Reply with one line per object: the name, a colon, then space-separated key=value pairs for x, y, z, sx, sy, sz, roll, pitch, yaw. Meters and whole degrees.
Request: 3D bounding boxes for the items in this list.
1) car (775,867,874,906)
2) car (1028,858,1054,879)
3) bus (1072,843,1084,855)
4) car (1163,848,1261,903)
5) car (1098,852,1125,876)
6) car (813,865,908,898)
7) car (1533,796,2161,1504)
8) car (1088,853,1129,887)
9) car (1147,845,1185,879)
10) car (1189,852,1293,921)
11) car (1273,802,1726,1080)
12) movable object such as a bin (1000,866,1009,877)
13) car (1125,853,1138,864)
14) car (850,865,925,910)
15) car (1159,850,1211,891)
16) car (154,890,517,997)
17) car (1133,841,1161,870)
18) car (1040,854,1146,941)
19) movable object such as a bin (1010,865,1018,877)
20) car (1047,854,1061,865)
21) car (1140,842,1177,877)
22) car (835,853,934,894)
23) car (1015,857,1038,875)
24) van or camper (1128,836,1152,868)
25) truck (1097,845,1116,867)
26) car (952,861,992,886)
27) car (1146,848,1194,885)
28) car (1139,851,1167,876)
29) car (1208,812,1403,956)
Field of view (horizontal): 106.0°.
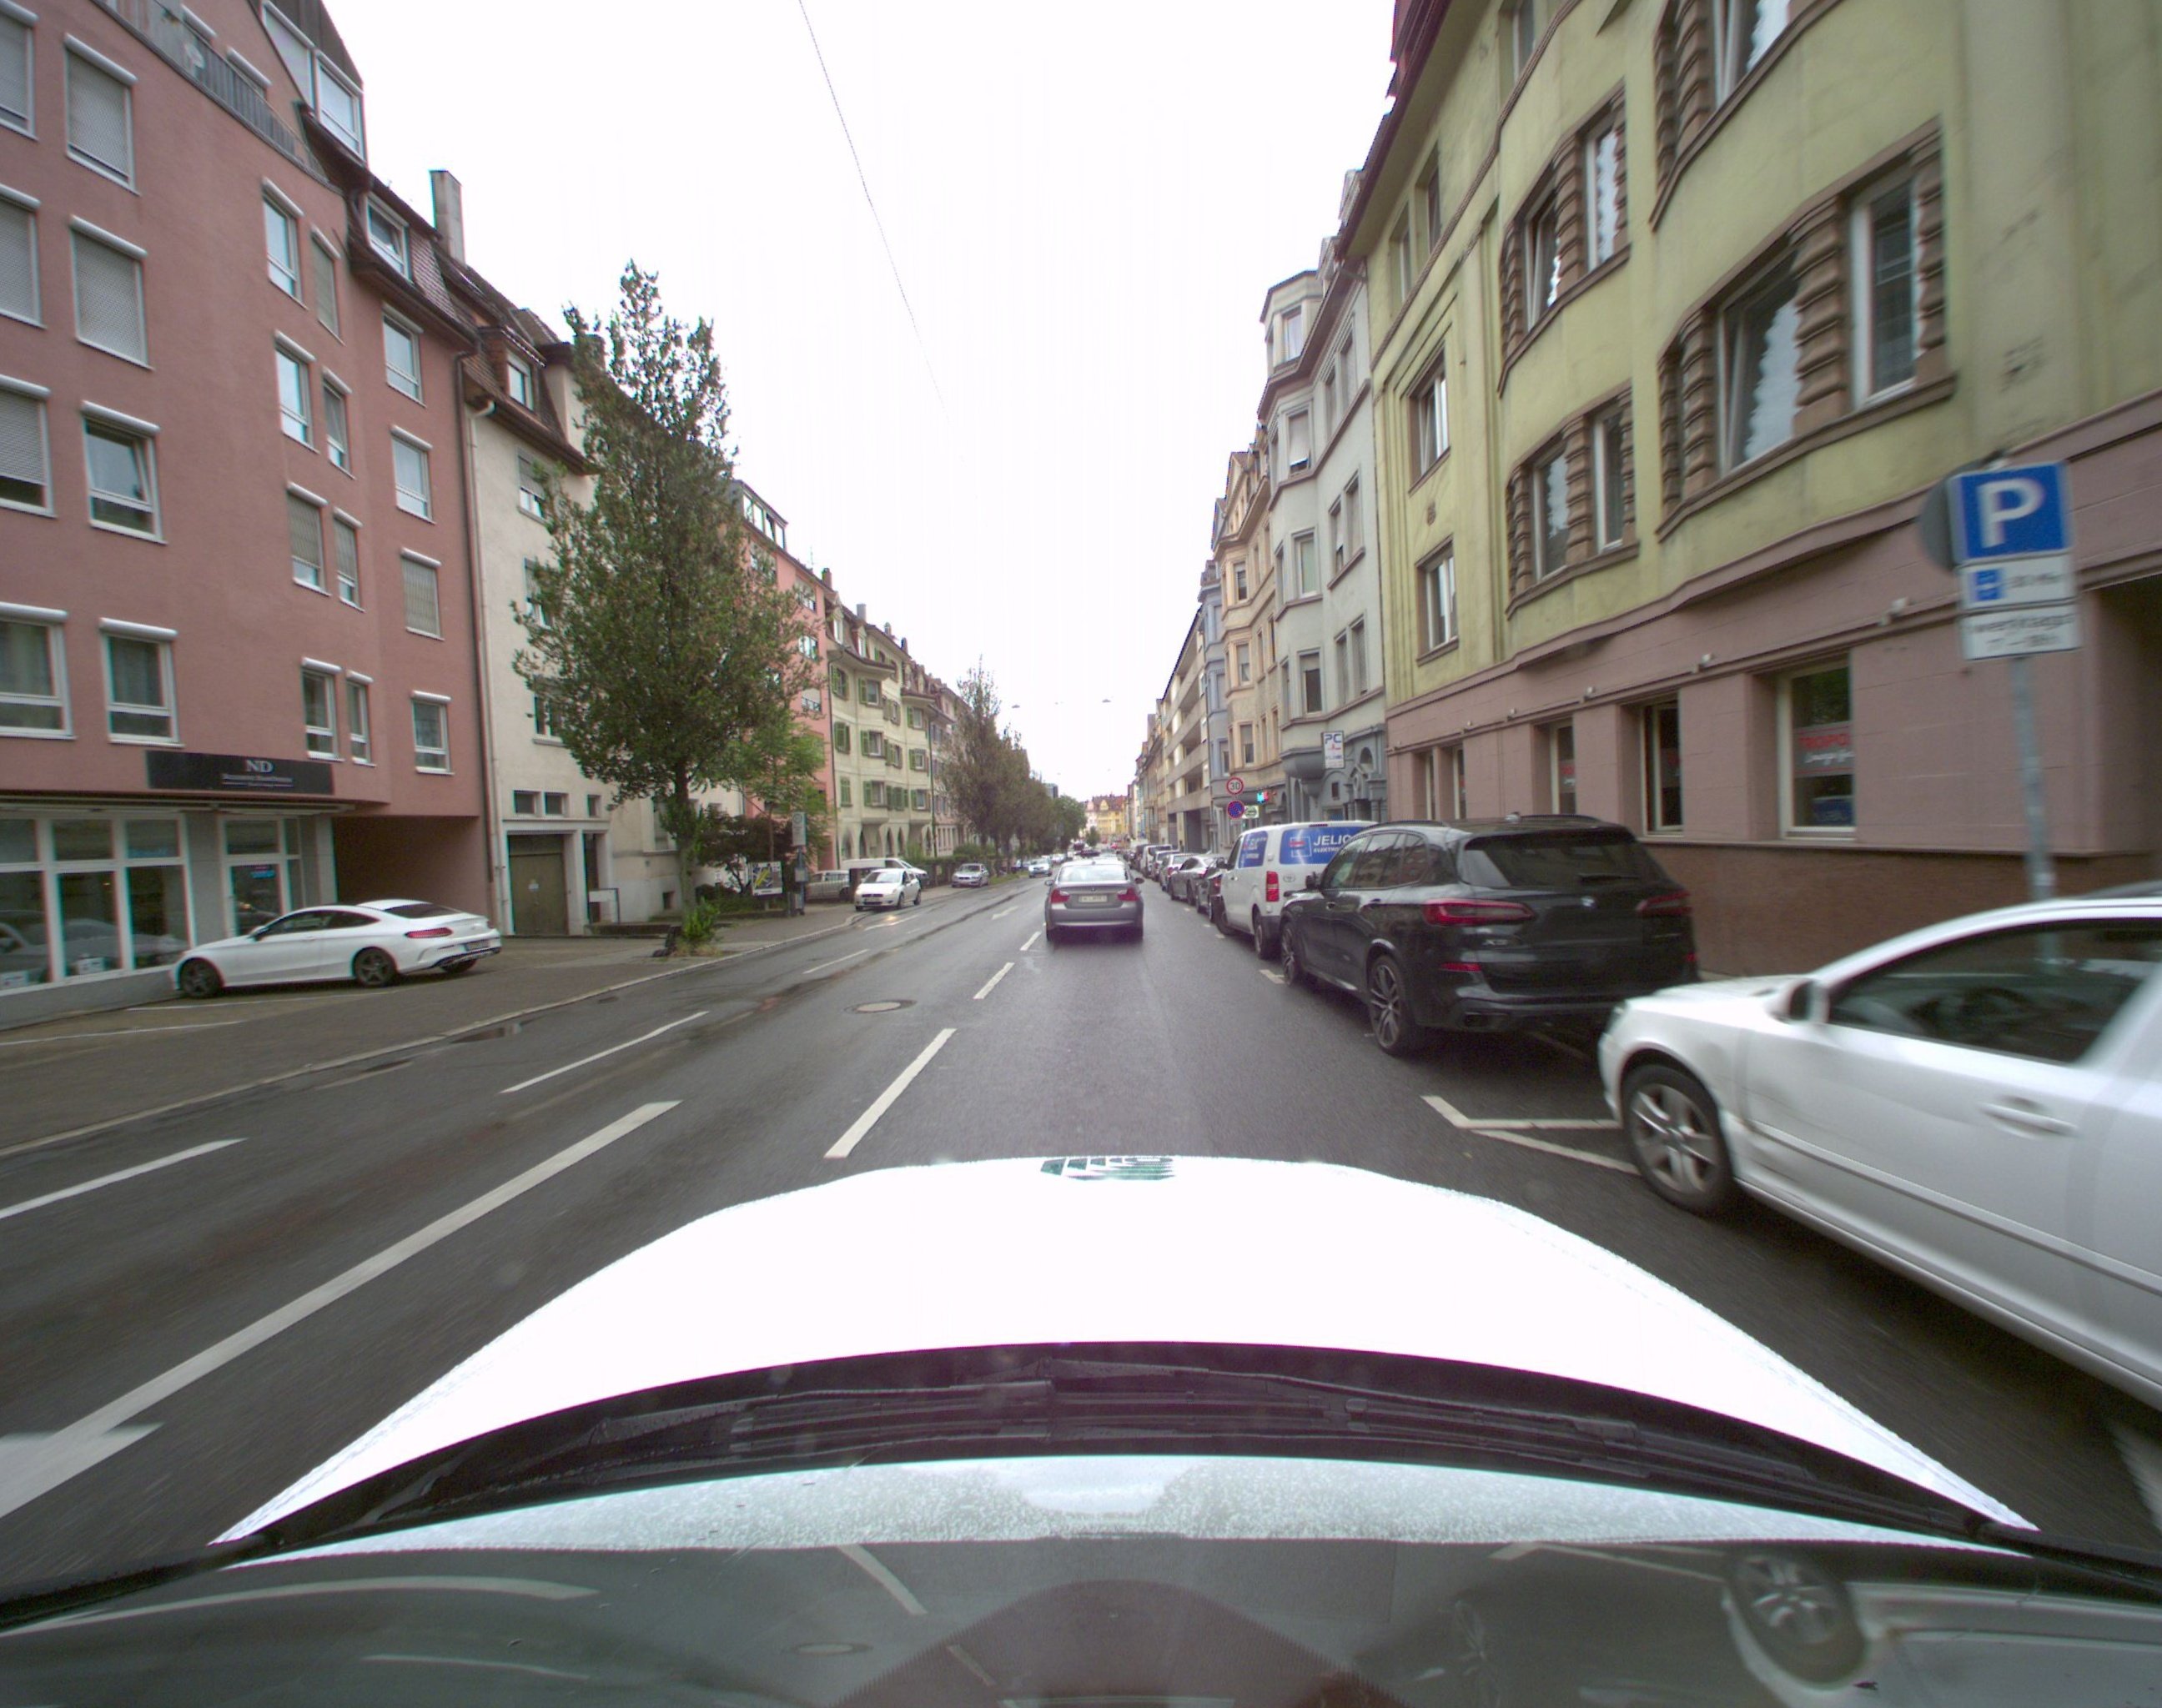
car: x=-11.530 y=1.453 z=36.836 sx=3.876 sy=1.457 sz=1.788 roll=-3 pitch=0 yaw=-6
car: x=-3.166 y=1.115 z=65.441 sx=1.630 sy=1.508 sz=3.756 roll=-5 pitch=0 yaw=2
bus: x=-0.797 y=-1.226 z=207.843 sx=2.658 sy=3.024 sz=7.674 roll=-3 pitch=0 yaw=2
car: x=3.817 y=0.605 z=24.566 sx=1.872 sy=1.467 sz=4.767 roll=-1 pitch=0 yaw=-4
car: x=1.995 y=0.668 z=54.127 sx=1.691 sy=1.483 sz=3.794 roll=-1 pitch=-1 yaw=1
car: x=-11.447 y=1.435 z=42.488 sx=4.418 sy=1.451 sz=1.791 roll=-3 pitch=0 yaw=-1
car: x=3.283 y=0.647 z=2.112 sx=1.792 sy=1.565 sz=4.493 roll=0 pitch=0 yaw=1
car: x=1.243 y=0.676 z=35.662 sx=1.675 sy=1.428 sz=3.744 roll=-1 pitch=0 yaw=3
car: x=4.672 y=0.416 z=45.142 sx=1.719 sy=1.670 sz=4.290 roll=-4 pitch=0 yaw=2
car: x=3.555 y=0.666 z=18.808 sx=1.671 sy=1.375 sz=4.278 roll=-1 pitch=0 yaw=2
car: x=3.175 y=0.550 z=7.454 sx=1.872 sy=1.731 sz=4.679 roll=0 pitch=0 yaw=2
movable object such as a bin: x=-6.229 y=1.415 z=66.278 sx=0.575 sy=0.912 sz=0.637 roll=-3 pitch=0 yaw=-12
car: x=7.110 y=0.607 z=115.102 sx=1.691 sy=1.483 sz=3.976 roll=-1 pitch=-1 yaw=1
car: x=-7.156 y=1.205 z=30.467 sx=1.614 sy=1.445 sz=4.008 roll=-2 pitch=0 yaw=3
car: x=3.965 y=0.600 z=31.579 sx=1.605 sy=1.474 sz=4.017 roll=-1 pitch=0 yaw=2
car: x=-12.577 y=1.472 z=13.940 sx=4.531 sy=1.401 sz=1.768 roll=-3 pitch=0 yaw=1
car: x=5.328 y=0.147 z=66.499 sx=1.974 sy=2.166 sz=4.752 roll=-3 pitch=0 yaw=2
car: x=0.217 y=0.735 z=15.493 sx=1.763 sy=1.428 sz=3.740 roll=-1 pitch=0 yaw=0
movable object such as a bin: x=-5.470 y=1.393 z=66.496 sx=0.575 sy=0.912 sz=0.637 roll=-3 pitch=0 yaw=-12
car: x=-4.031 y=0.795 z=120.685 sx=1.684 sy=1.523 sz=3.739 roll=-4 pitch=0 yaw=3
car: x=4.866 y=0.350 z=51.875 sx=1.974 sy=2.007 sz=4.627 roll=-3 pitch=0 yaw=2
car: x=-10.798 y=1.065 z=45.037 sx=4.811 sy=1.974 sz=2.049 roll=-3 pitch=0 yaw=1
car: x=-5.221 y=1.120 z=78.437 sx=1.760 sy=1.593 sz=4.000 roll=-4 pitch=0 yaw=1
van or camper: x=5.596 y=-0.155 z=77.052 sx=2.023 sy=2.868 sz=6.896 roll=1 pitch=0 yaw=6
truck: x=2.896 y=0.227 z=92.960 sx=2.024 sy=2.412 sz=4.828 roll=-1 pitch=-1 yaw=1
car: x=-6.676 y=1.169 z=50.106 sx=1.719 sy=1.484 sz=3.992 roll=0 pitch=-1 yaw=3
car: x=4.129 y=0.540 z=38.550 sx=1.892 sy=1.478 sz=4.802 roll=-5 pitch=0 yaw=3
car: x=5.245 y=0.641 z=59.400 sx=1.719 sy=1.670 sz=4.290 roll=-3 pitch=0 yaw=2
car: x=3.402 y=0.409 z=13.457 sx=1.912 sy=1.827 sz=5.011 roll=-3 pitch=0 yaw=2
